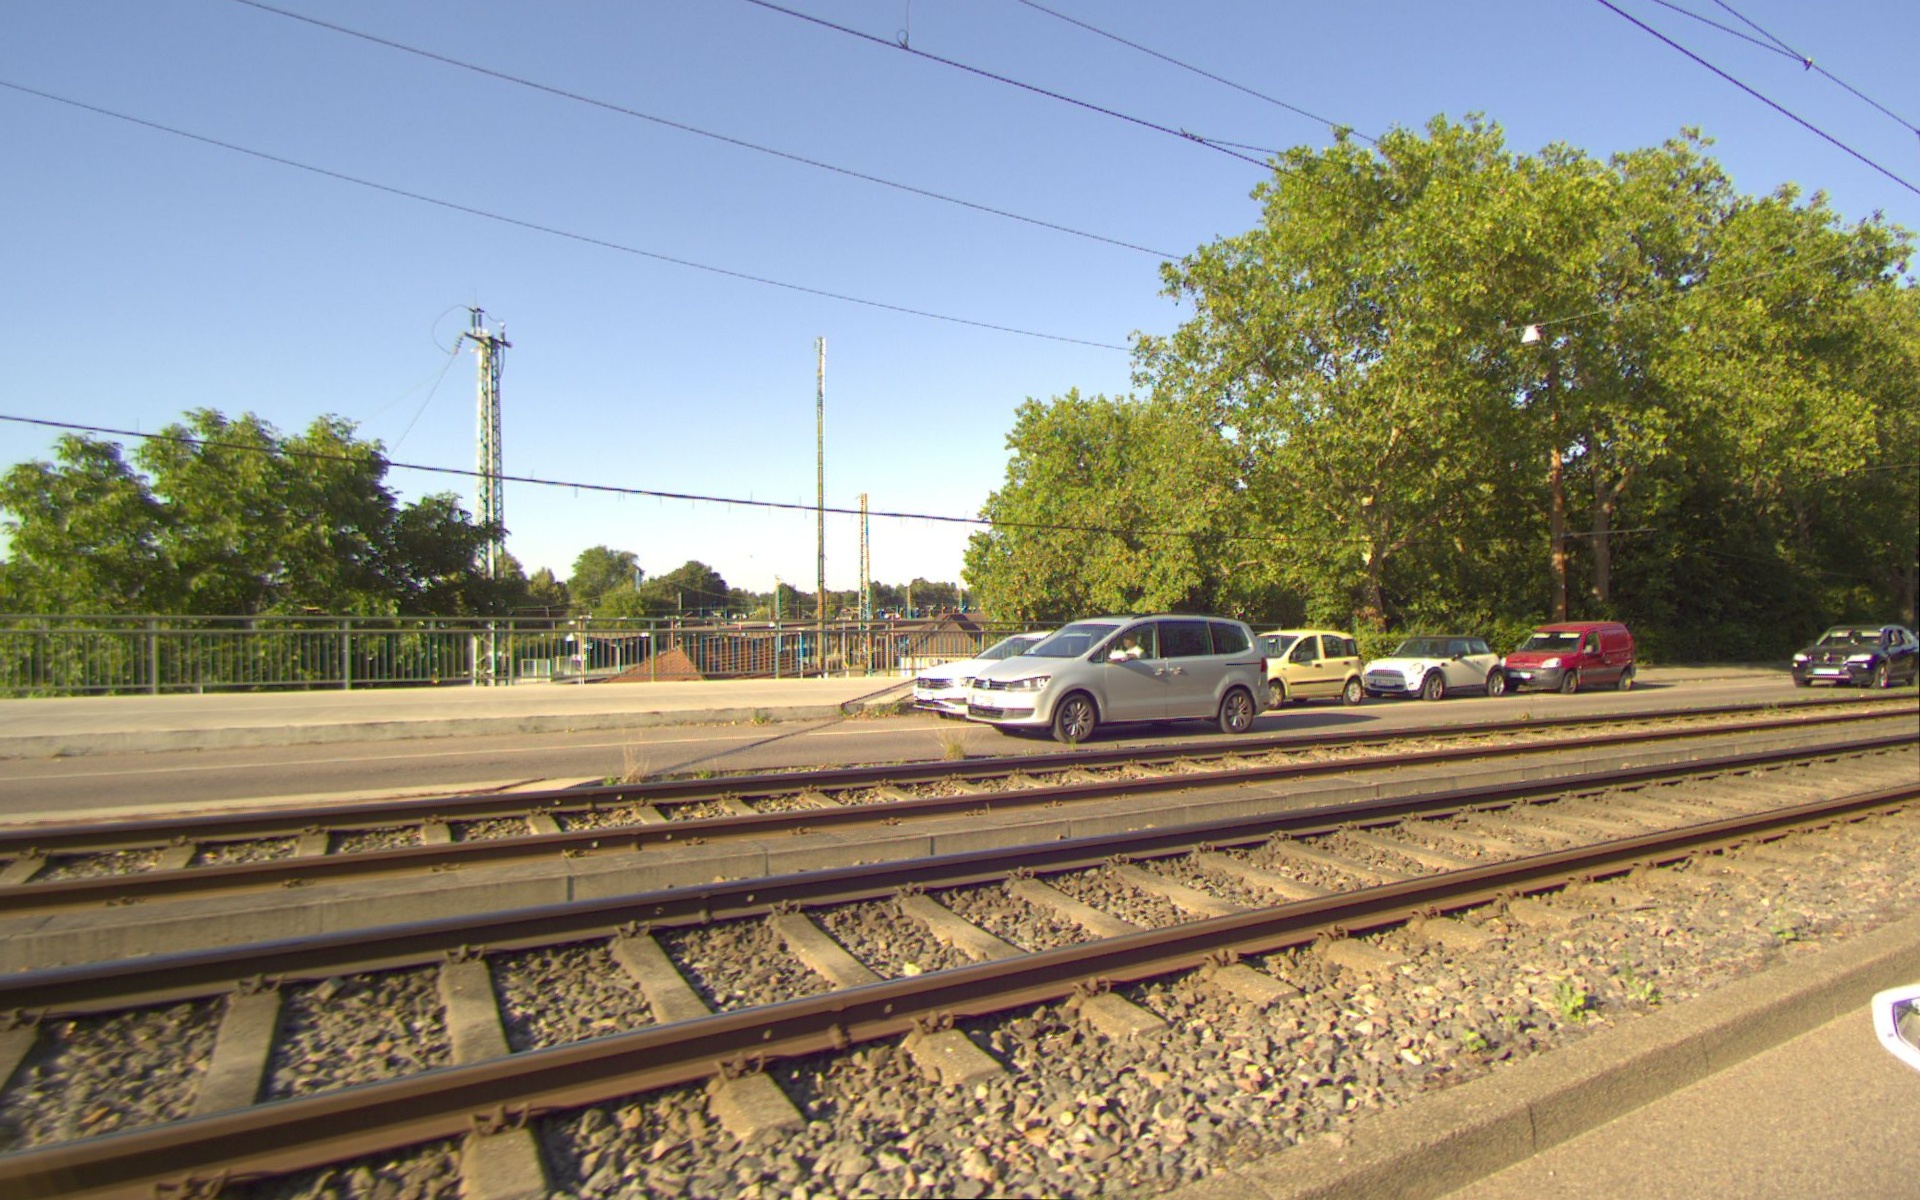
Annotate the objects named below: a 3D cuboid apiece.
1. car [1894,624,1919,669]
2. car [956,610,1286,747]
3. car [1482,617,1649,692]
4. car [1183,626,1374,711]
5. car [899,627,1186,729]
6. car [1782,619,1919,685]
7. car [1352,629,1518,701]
[{"bbox_3d":[39.377,1.803,40.263,4.464,1.766,1.733,0,-4,-33],"label":"car"},{"bbox_3d":[2.364,0.998,14.411,4.542,1.687,1.864,0,0,-30],"label":"car"},{"bbox_3d":[15.612,1.328,25.846,4.630,1.777,1.733,0,-1,-31],"label":"car"},{"bbox_3d":[6.487,1.320,20.382,3.745,1.551,1.626,0,-1,-30],"label":"car"},{"bbox_3d":[1.508,1.250,17.412,4.899,1.483,1.733,0,0,-31],"label":"car"},{"bbox_3d":[24.361,1.364,27.369,4.345,1.645,1.732,0,-2,-32],"label":"car"},{"bbox_3d":[11.002,1.433,23.197,3.958,1.470,1.624,0,-1,-32],"label":"car"}]
